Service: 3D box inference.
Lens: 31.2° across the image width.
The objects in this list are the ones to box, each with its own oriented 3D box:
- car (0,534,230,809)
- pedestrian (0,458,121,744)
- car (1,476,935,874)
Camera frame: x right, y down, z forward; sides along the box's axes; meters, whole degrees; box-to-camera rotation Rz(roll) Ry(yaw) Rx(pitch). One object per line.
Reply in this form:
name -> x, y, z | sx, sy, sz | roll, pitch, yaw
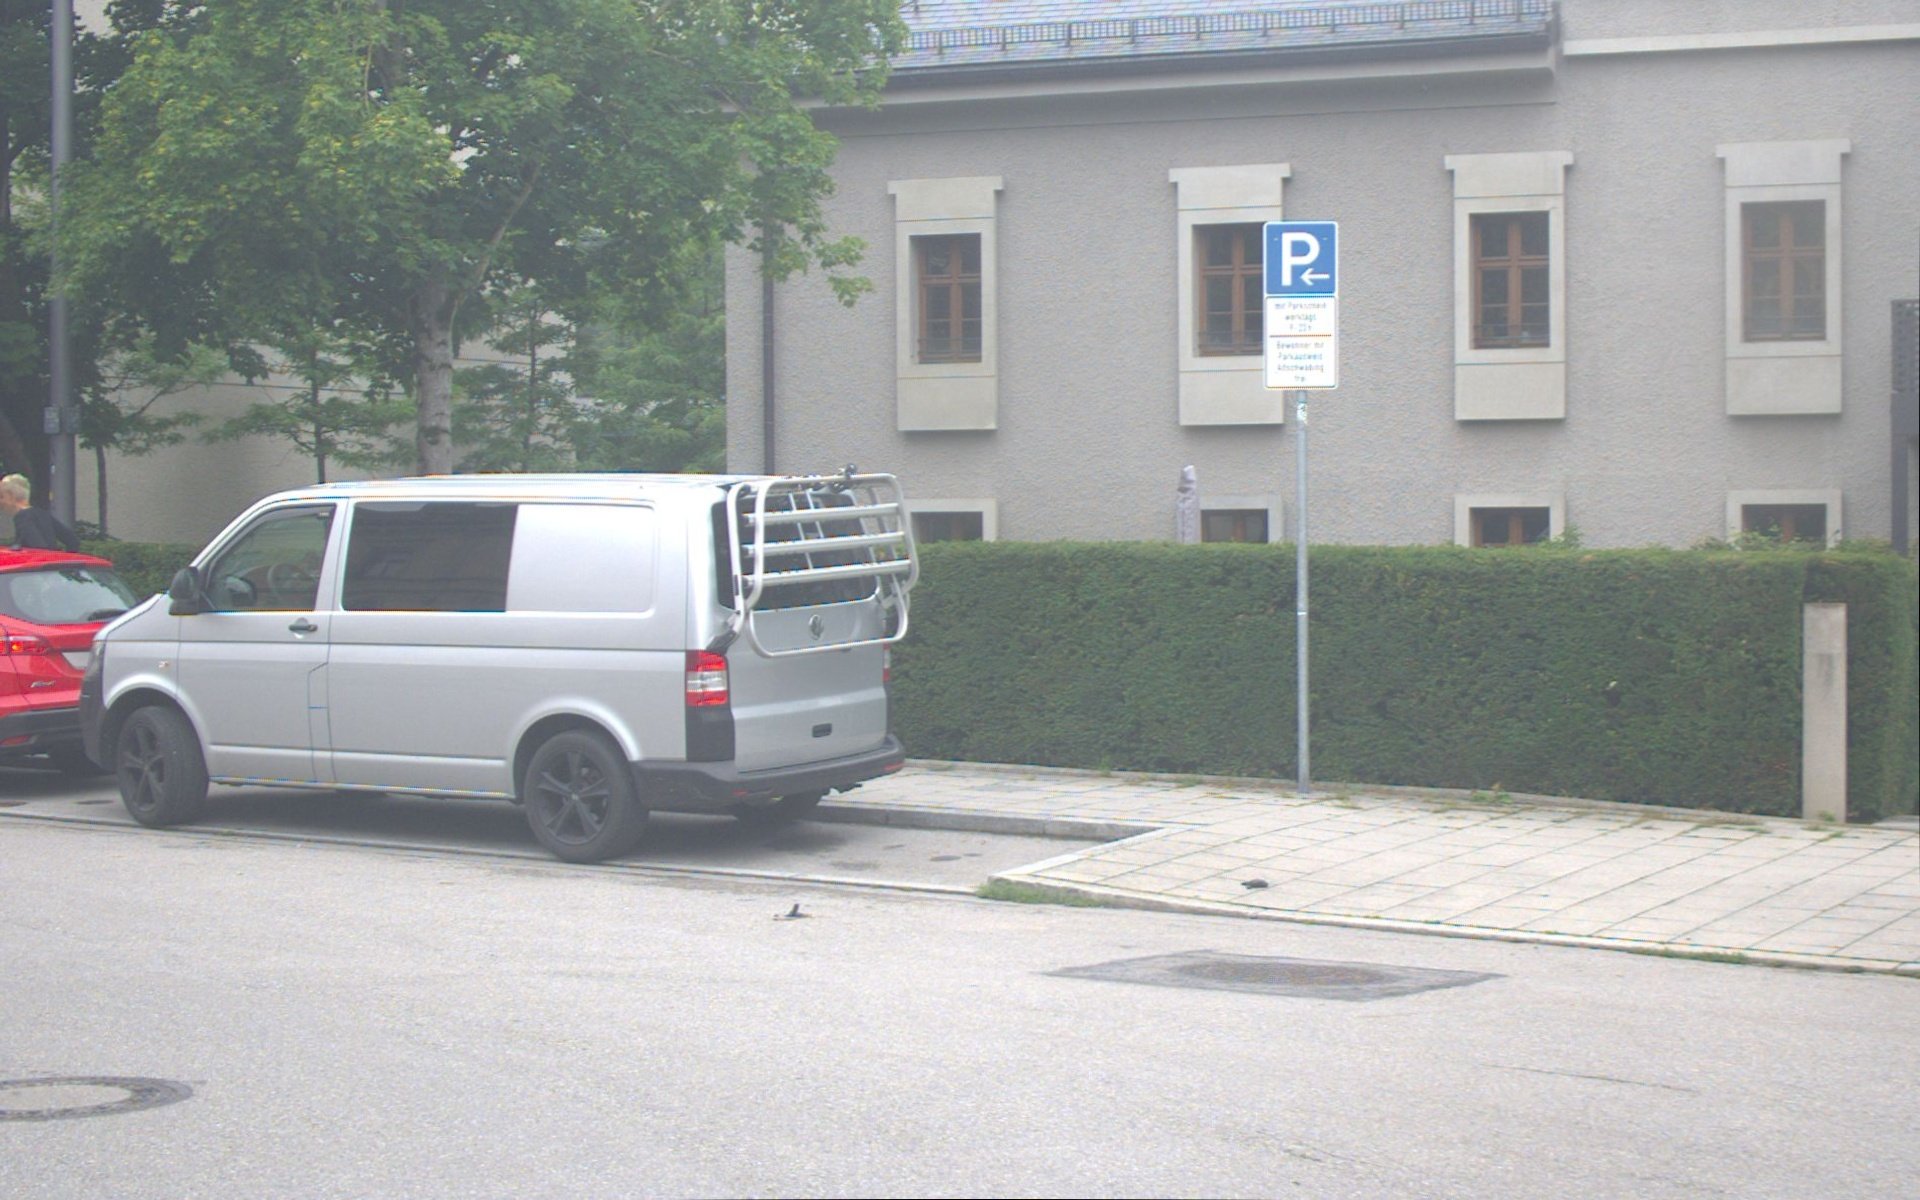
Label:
car -> -7.158, 0.361, 21.992 | 4.830, 1.501, 1.874 | 2, 4, 30
pedestrian -> -6.307, -0.001, 23.334 | 0.864, 1.897, 0.796 | 1, 1, 38
car -> -2.800, 0.292, 19.094 | 5.064, 1.898, 1.938 | 2, 4, 32
